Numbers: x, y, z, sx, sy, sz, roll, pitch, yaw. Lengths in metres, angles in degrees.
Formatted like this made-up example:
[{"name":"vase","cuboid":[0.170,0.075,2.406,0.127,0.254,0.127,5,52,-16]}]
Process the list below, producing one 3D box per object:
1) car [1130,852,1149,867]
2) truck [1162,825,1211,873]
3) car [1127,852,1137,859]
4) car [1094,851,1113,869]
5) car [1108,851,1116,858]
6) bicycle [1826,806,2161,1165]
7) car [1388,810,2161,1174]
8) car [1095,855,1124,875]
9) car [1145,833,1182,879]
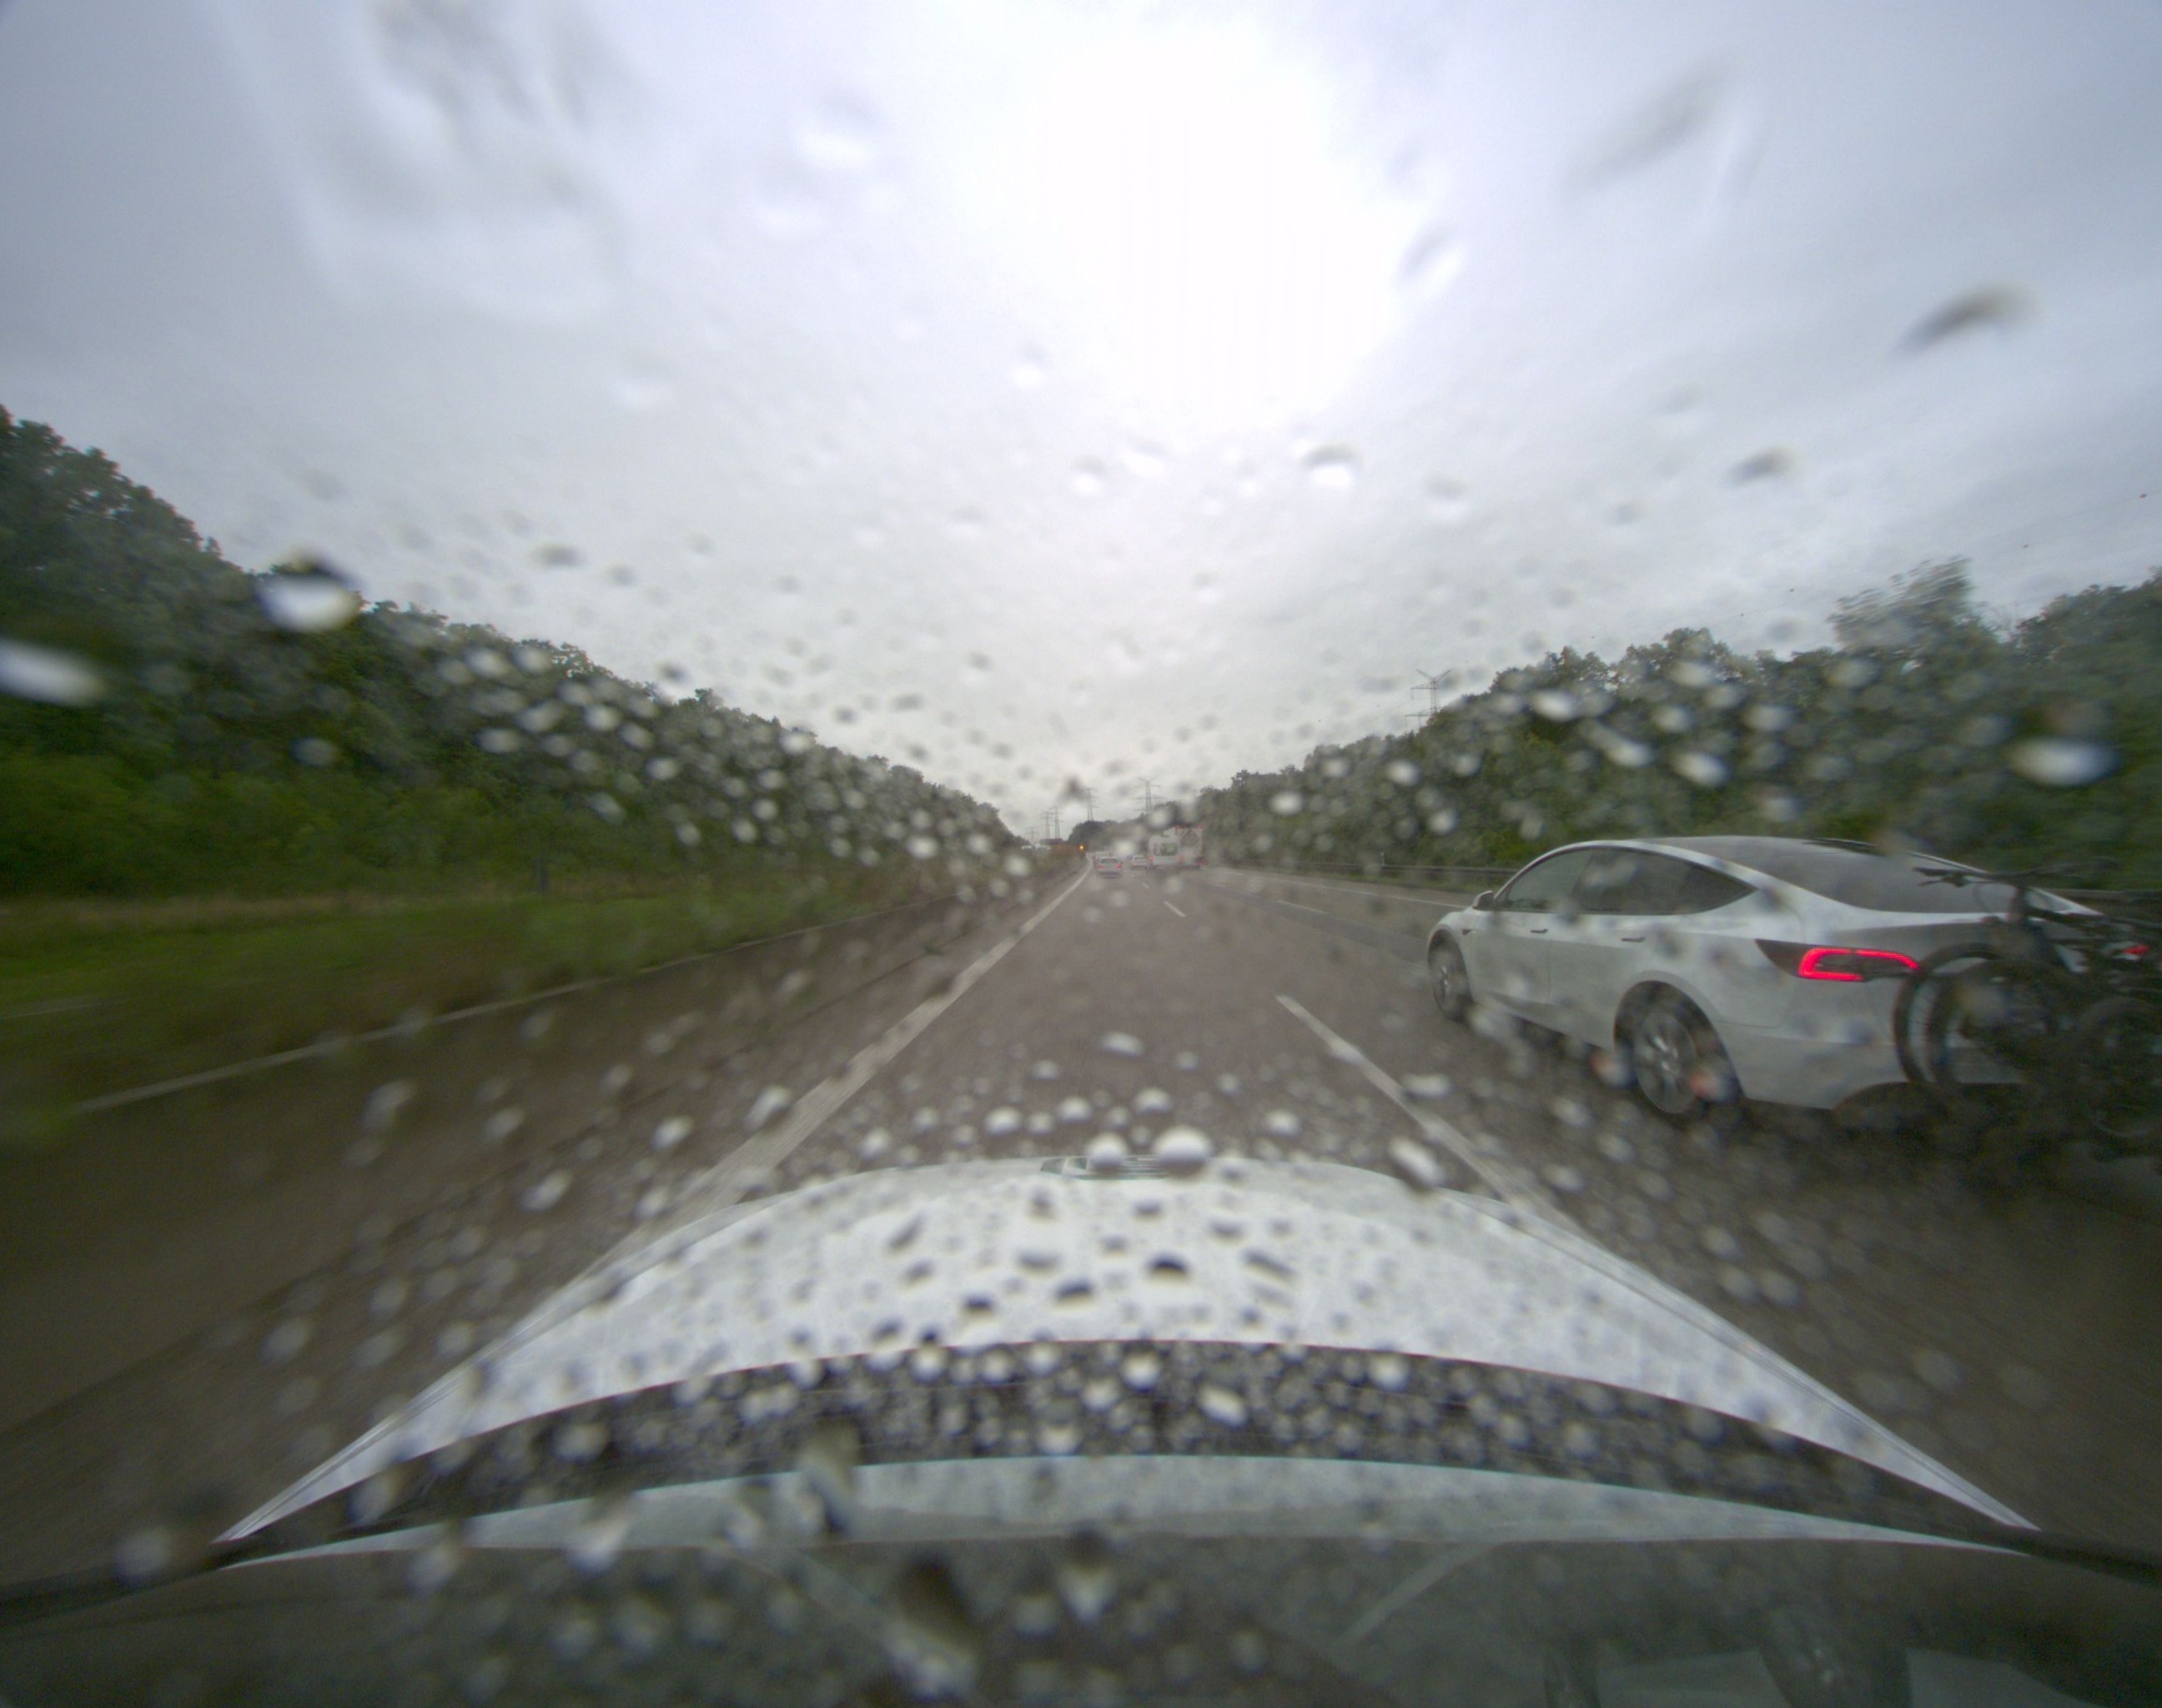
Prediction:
[{"name":"car","cuboid":[6.018,0.528,83.209,1.848,1.422,4.005,-2,0,4]},{"name":"truck","cuboid":[10.417,-0.450,81.869,3.589,4.332,13.207,-2,0,2]},{"name":"car","cuboid":[11.473,0.286,182.592,1.985,1.486,4.003,-4,-1,3]},{"name":"car","cuboid":[2.446,0.643,88.197,1.838,1.772,4.004,-3,0,3]},{"name":"car","cuboid":[8.348,0.146,218.686,1.985,1.574,4.003,-3,-1,3]},{"name":"bicycle","cuboid":[4.017,0.392,2.964,1.747,1.090,0.913,-1,-1,0]},{"name":"car","cuboid":[4.078,0.609,6.043,1.853,1.568,4.966,-1,0,2]},{"name":"car","cuboid":[2.013,0.738,56.165,1.859,1.288,4.004,-3,0,3]},{"name":"car","cuboid":[5.481,0.123,54.668,1.987,2.864,4.000,-3,0,1]}]
